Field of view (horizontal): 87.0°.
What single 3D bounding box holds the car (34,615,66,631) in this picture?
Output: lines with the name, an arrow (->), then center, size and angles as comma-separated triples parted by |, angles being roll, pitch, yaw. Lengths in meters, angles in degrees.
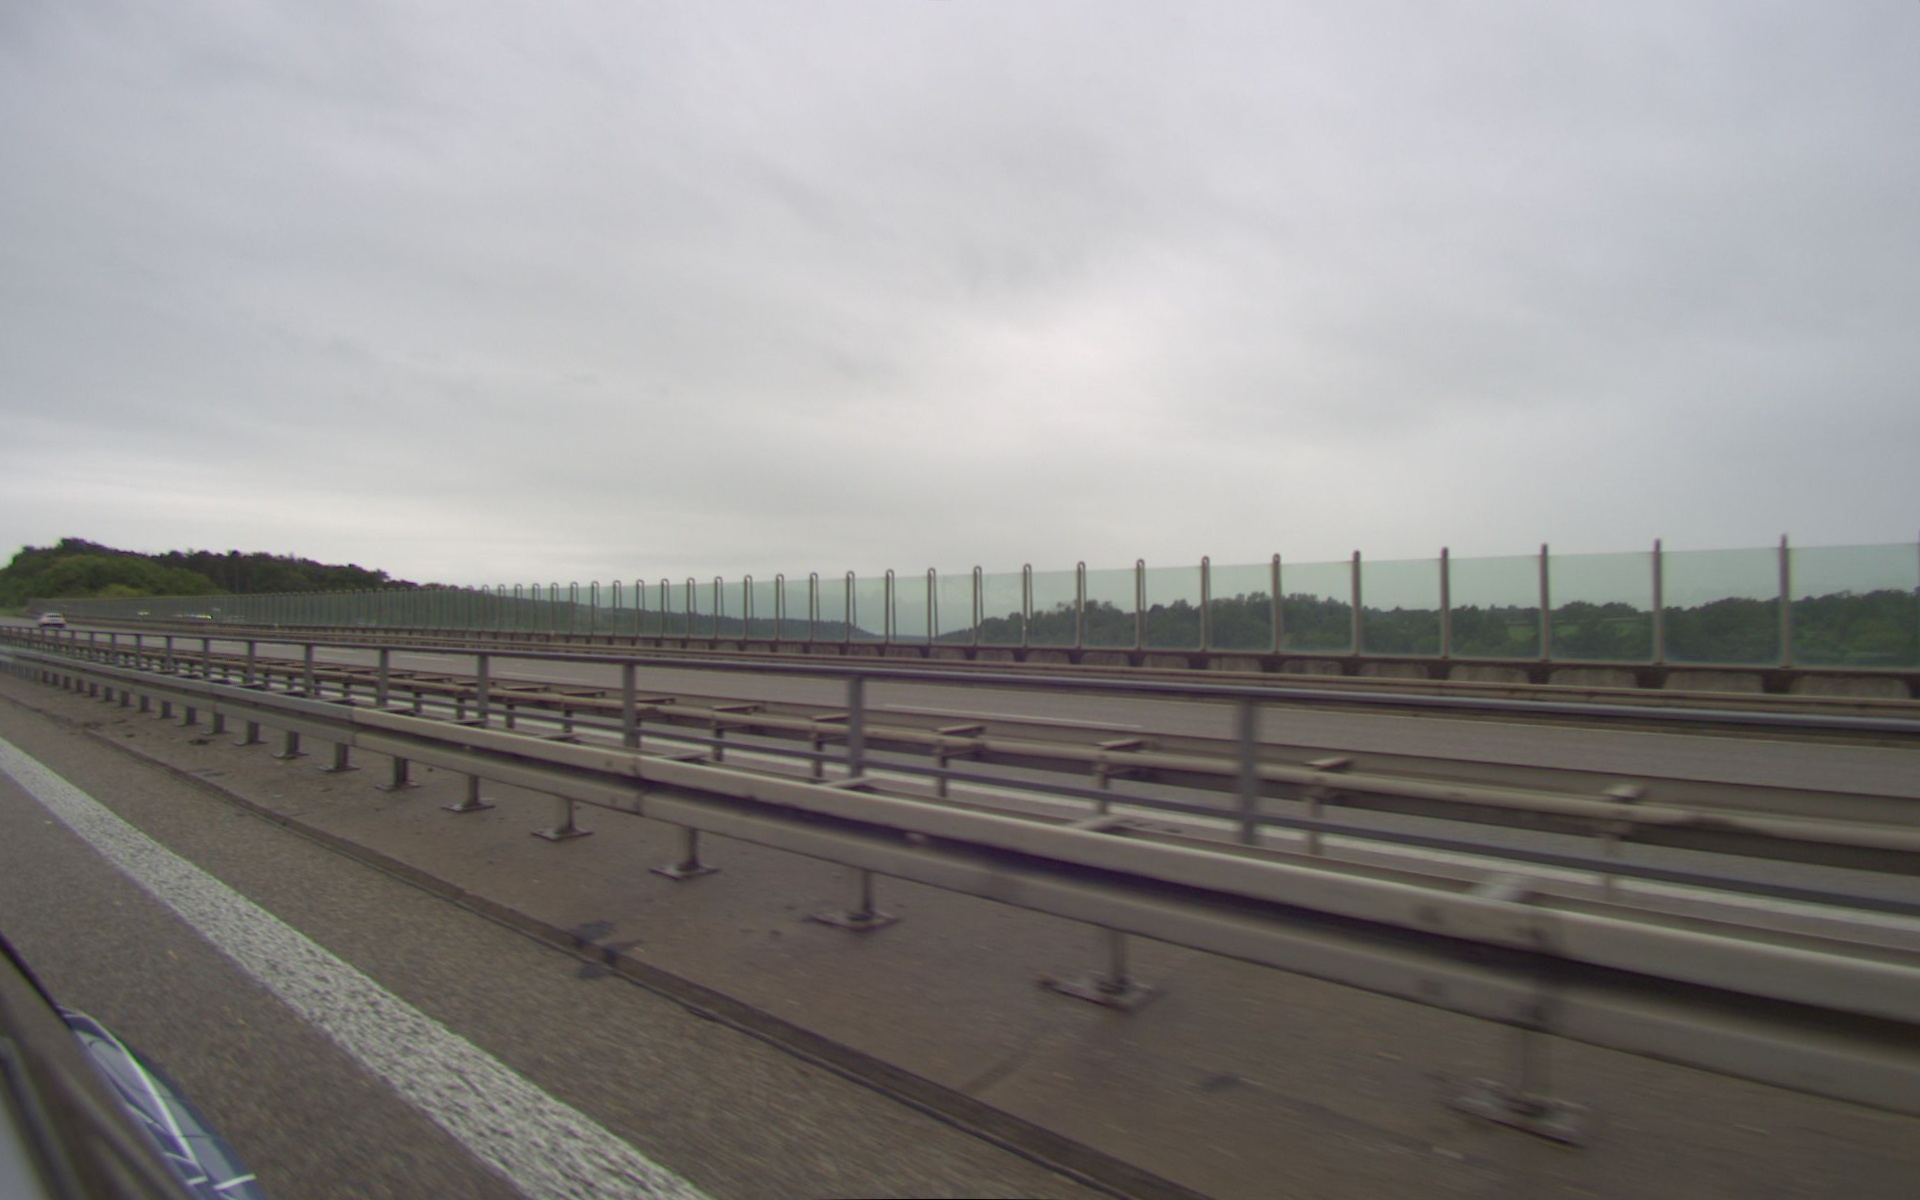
car -> -97.891, 2.434, 108.878 | 4.711, 1.642, 1.973 | -1, -2, 41
